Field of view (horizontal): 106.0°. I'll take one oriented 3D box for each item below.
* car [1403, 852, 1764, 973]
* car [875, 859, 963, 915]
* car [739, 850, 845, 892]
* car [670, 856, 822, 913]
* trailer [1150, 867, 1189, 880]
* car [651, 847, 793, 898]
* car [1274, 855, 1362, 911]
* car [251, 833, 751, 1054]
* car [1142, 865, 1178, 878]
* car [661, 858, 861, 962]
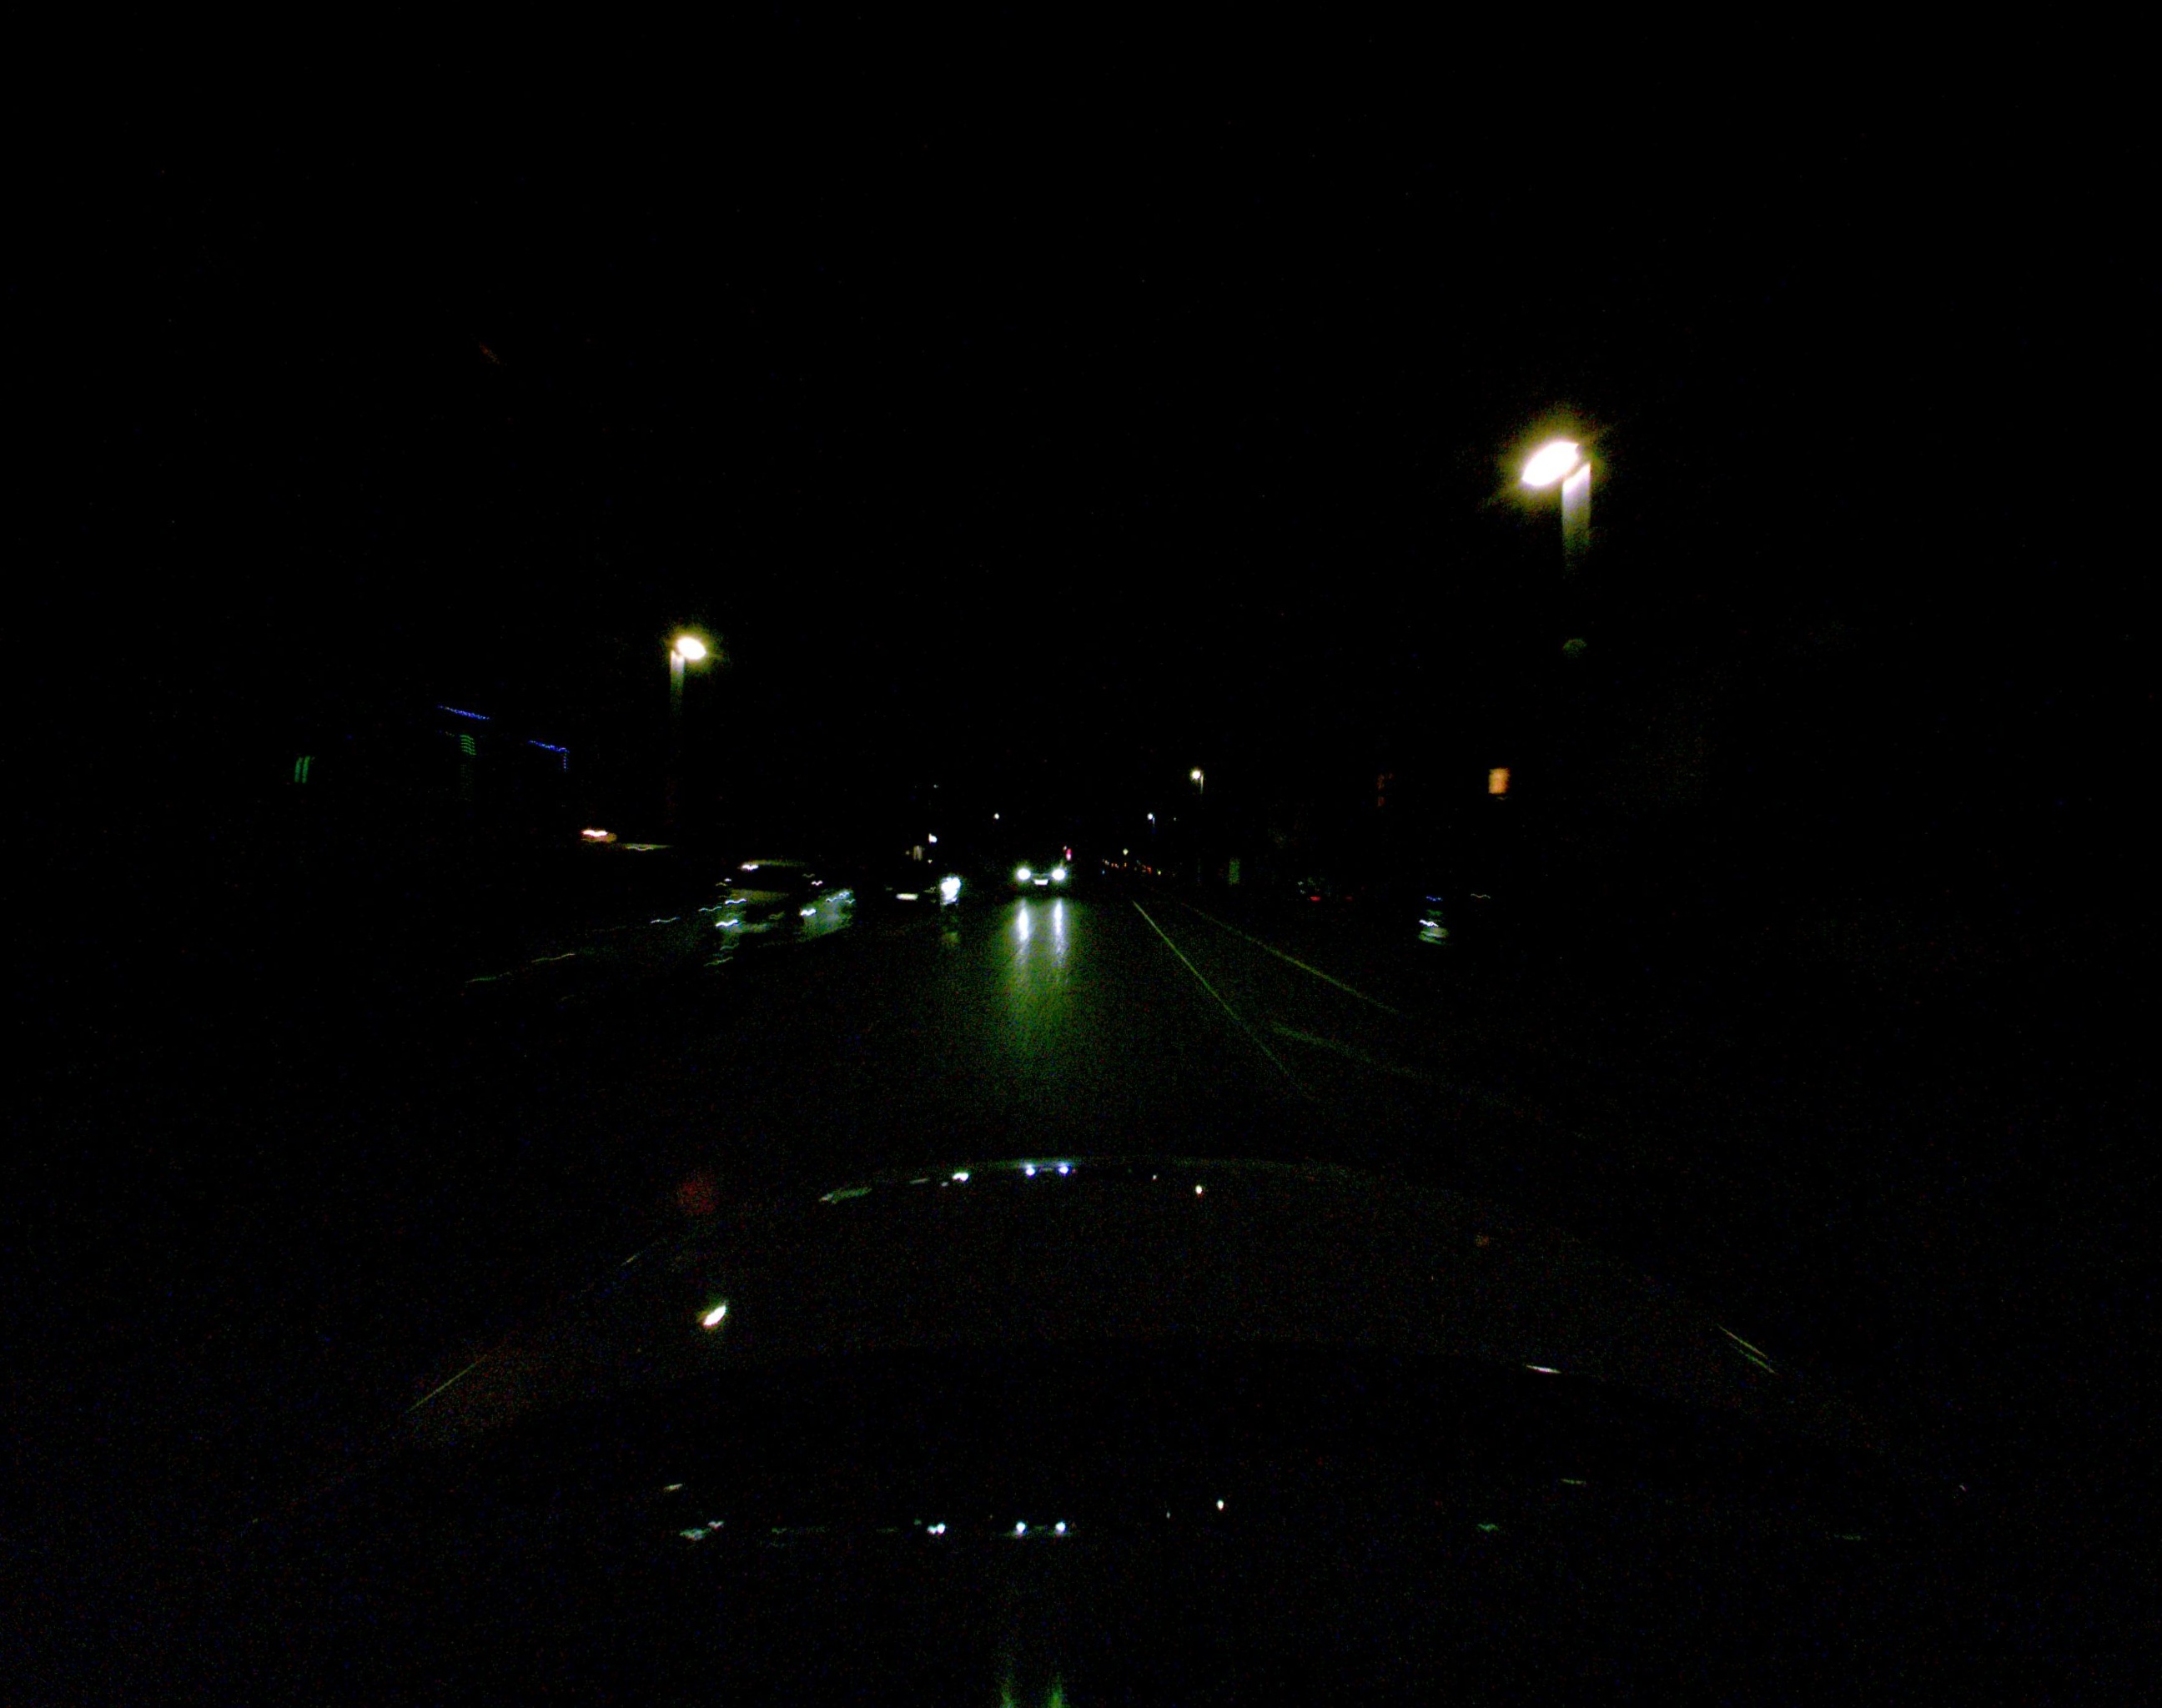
[{"bbox_3d":[6.788,0.757,11.334,3.891,1.486,1.832,-1,-1,0],"label":"car"},{"bbox_3d":[-4.671,0.901,23.994,1.743,1.469,4.008,1,0,0],"label":"car"},{"bbox_3d":[-12.539,0.723,35.572,3.982,1.703,1.944,-2,0,-7],"label":"car"},{"bbox_3d":[-10.777,0.959,26.428,3.974,1.464,2.000,-5,-1,0],"label":"car"},{"bbox_3d":[8.290,1.804,76.317,3.420,1.002,1.954,4,-1,0],"label":"trailer"},{"bbox_3d":[-12.610,0.641,28.806,4.100,1.662,2.001,-1,-1,2],"label":"car"},{"bbox_3d":[7.127,0.834,24.847,1.634,1.560,3.678,0,-1,0],"label":"car"},{"bbox_3d":[-5.337,0.700,8.470,1.922,1.636,4.470,2,0,0],"label":"car"},{"bbox_3d":[7.734,1.720,80.176,3.382,1.232,1.723,0,-1,-1],"label":"car"},{"bbox_3d":[-5.160,0.824,13.753,1.765,1.469,3.965,1,0,0],"label":"car"}]
